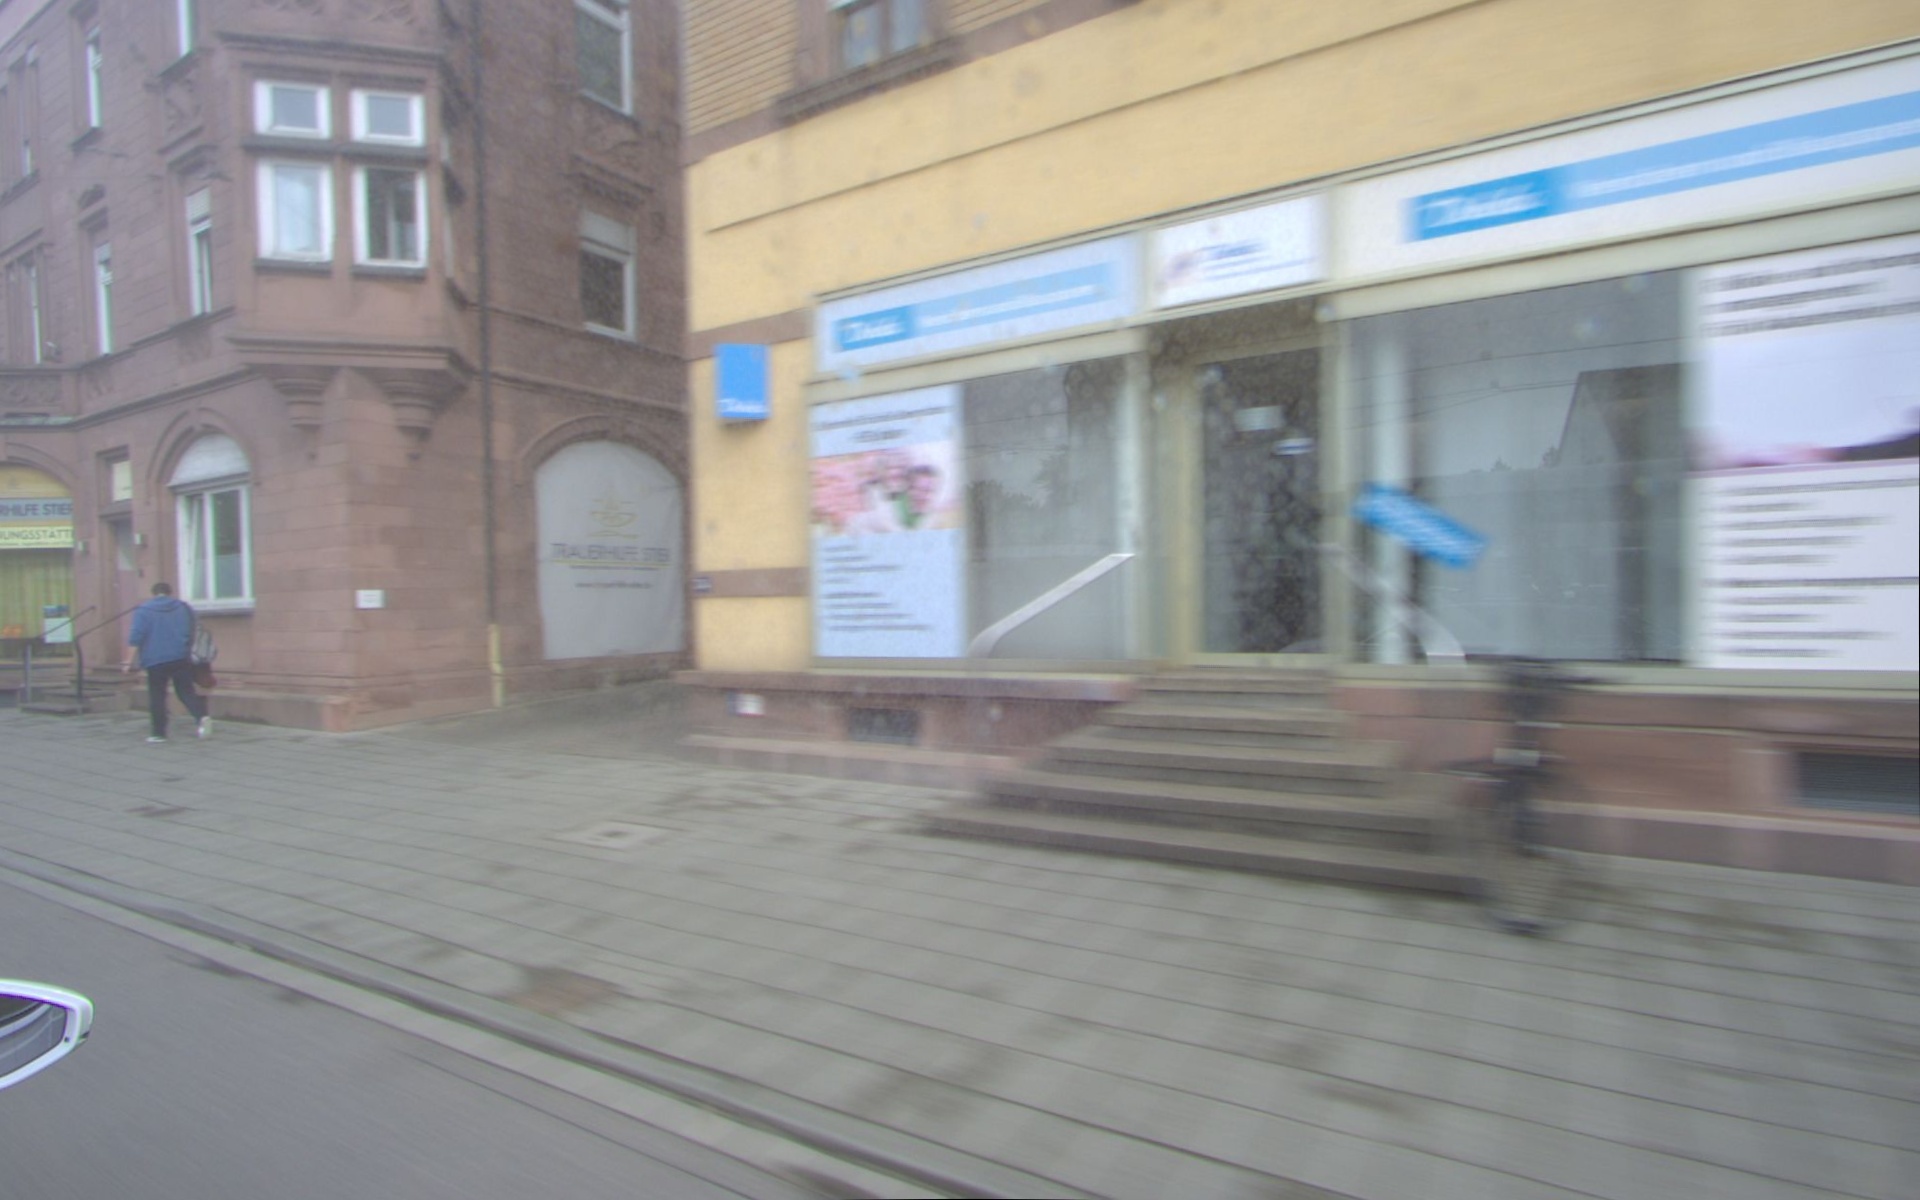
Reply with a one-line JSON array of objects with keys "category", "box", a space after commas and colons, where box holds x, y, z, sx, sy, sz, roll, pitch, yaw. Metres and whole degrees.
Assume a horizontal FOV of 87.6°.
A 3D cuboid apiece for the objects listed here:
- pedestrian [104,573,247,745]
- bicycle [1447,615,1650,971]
[{"category": "pedestrian", "box": [-9.113, 0.646, 11.645, 0.961, 1.876, 0.958, 0, 3, 32]}, {"category": "bicycle", "box": [2.588, 0.695, 4.423, 0.633, 1.145, 1.773, 0, 3, 31]}]
